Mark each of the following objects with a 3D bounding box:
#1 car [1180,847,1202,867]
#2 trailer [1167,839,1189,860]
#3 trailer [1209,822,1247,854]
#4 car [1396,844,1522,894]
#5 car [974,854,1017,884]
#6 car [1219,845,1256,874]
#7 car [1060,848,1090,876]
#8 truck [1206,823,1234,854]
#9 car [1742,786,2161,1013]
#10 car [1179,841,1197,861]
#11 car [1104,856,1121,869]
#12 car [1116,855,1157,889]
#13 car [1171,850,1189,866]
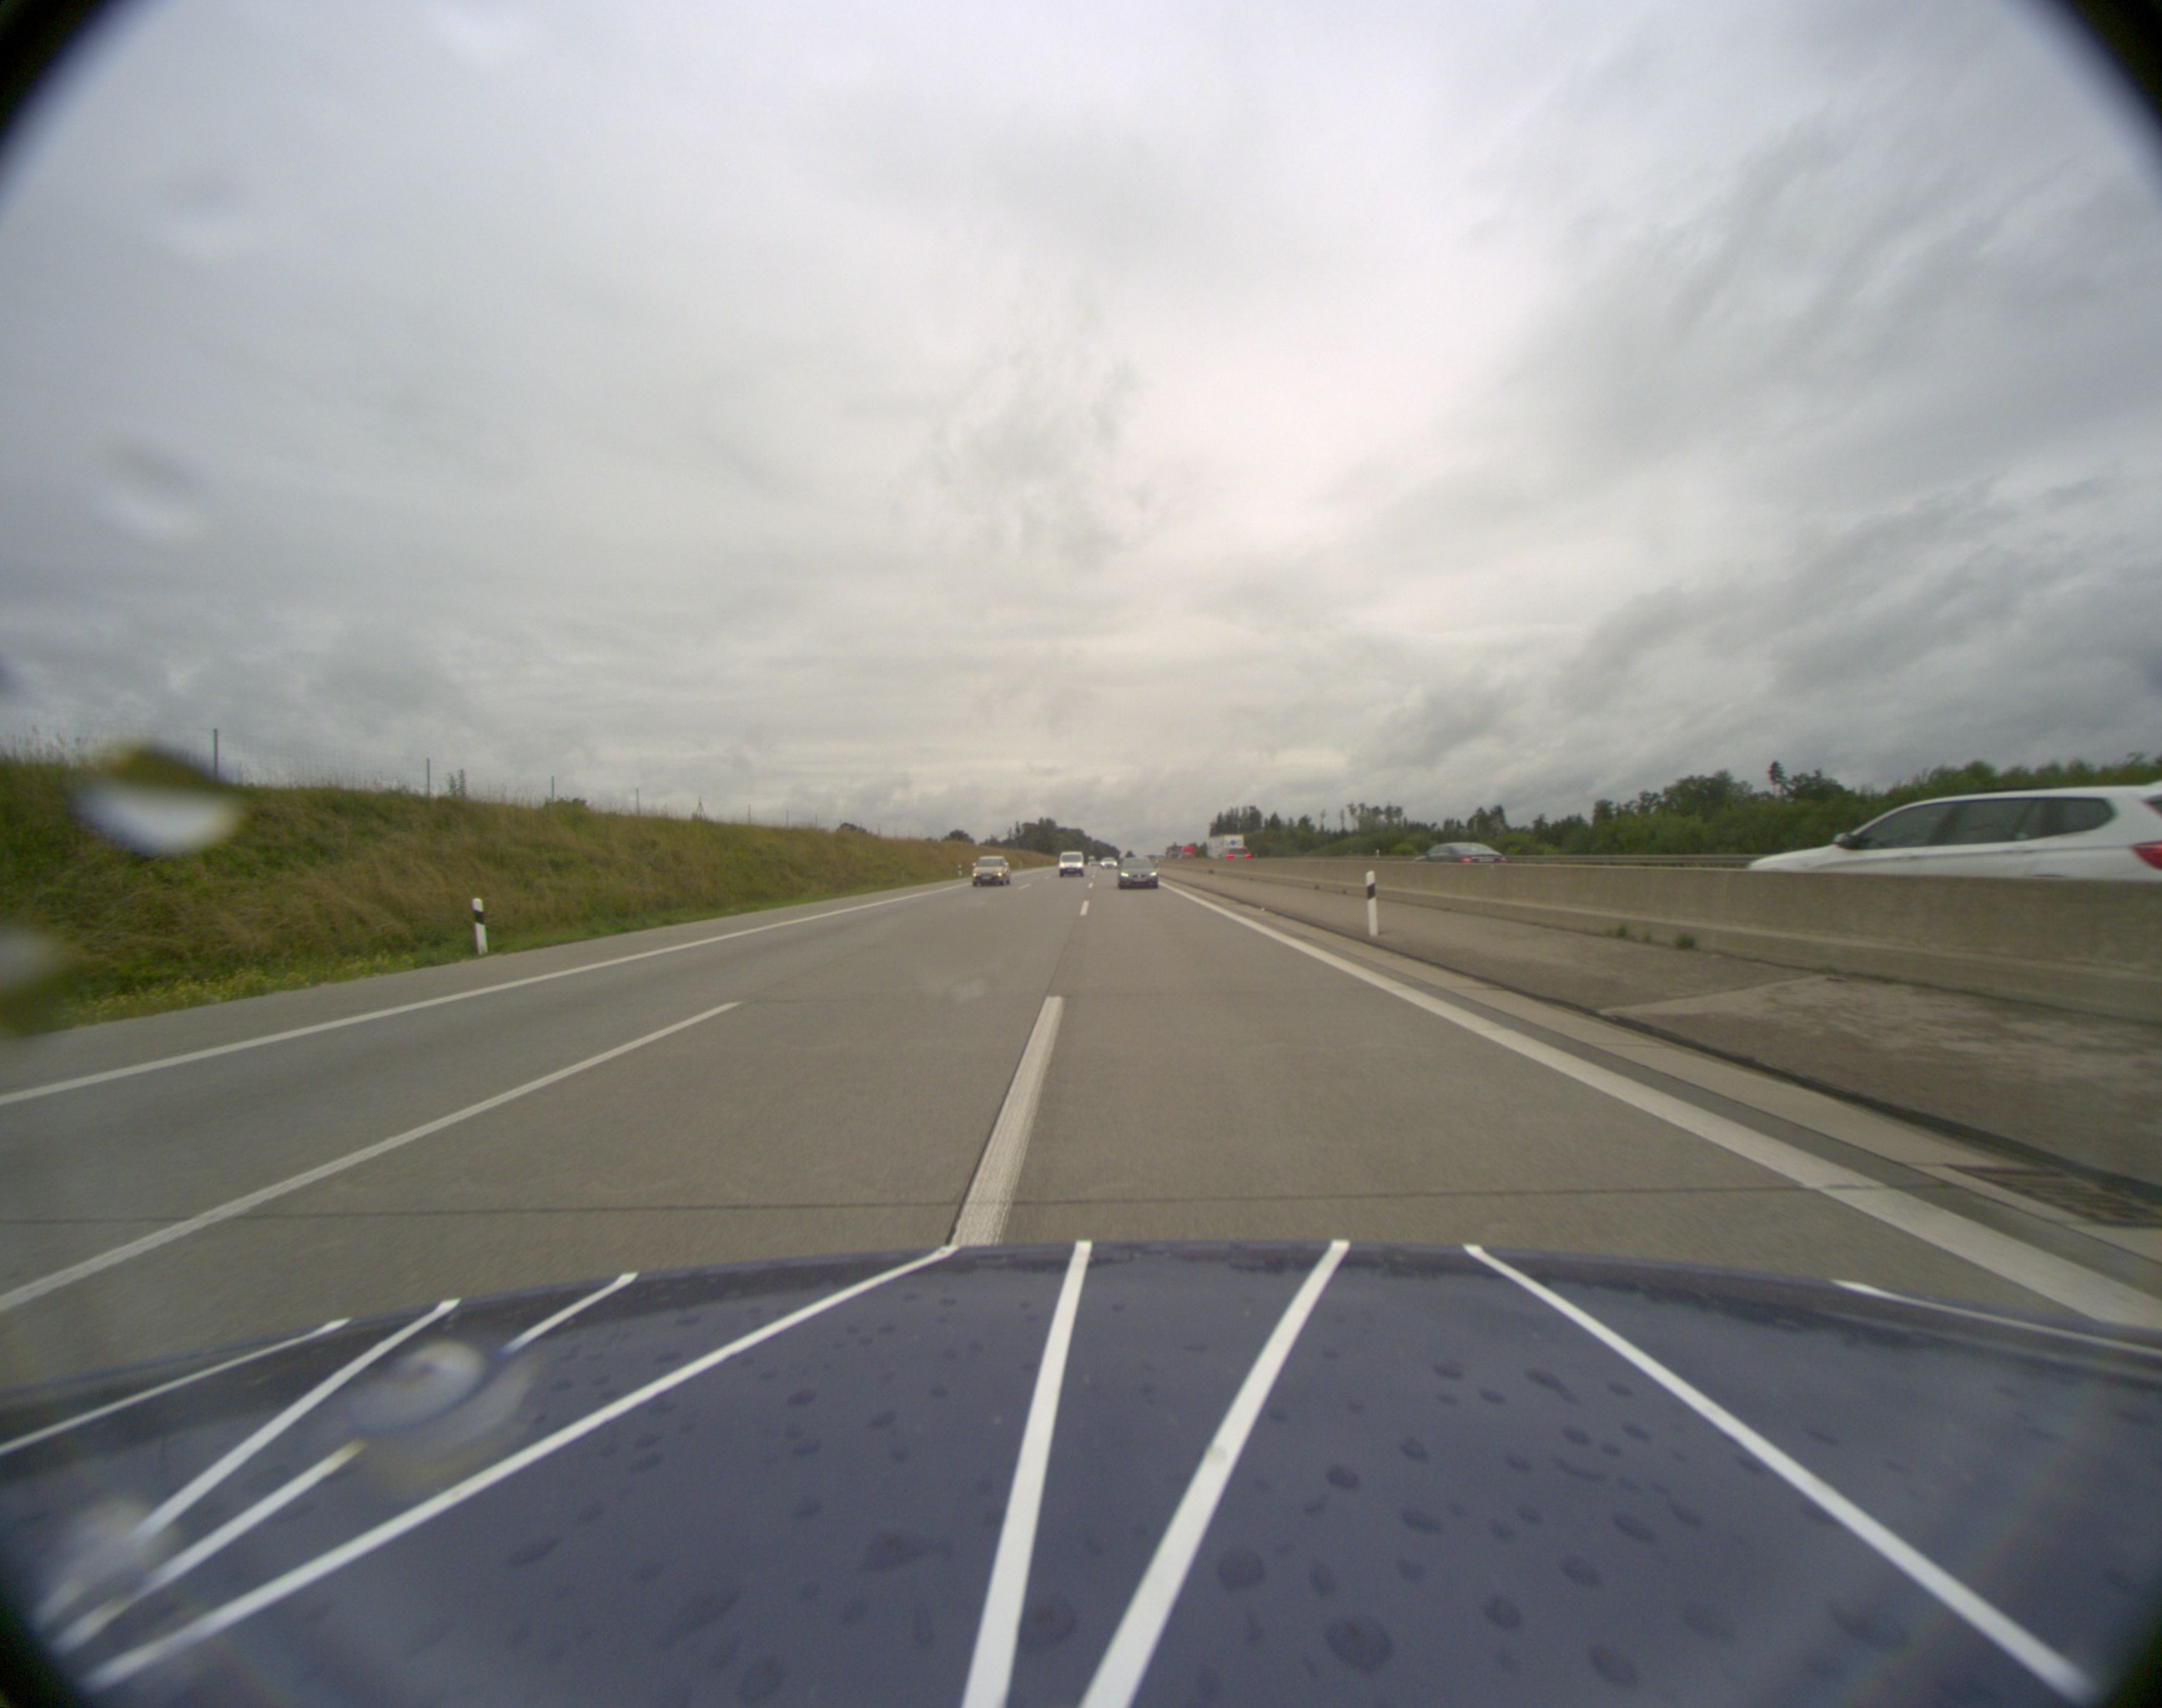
[{"bbox_3d":[11.514,0.260,79.815,1.692,2.002,4.837,-1,0,0],"label":"car"},{"bbox_3d":[22.606,-0.991,178.289,3.607,4.771,12.910,-1,-1,1],"label":"trailer"},{"bbox_3d":[20.343,-2.140,106.048,2.895,3.979,13.016,-1,-1,1],"label":"trailer"},{"bbox_3d":[13.723,0.500,28.000,2.039,1.657,5.268,-1,0,0],"label":"car"},{"bbox_3d":[-4.832,0.837,43.496,1.789,1.595,4.572,-1,-1,2],"label":"car"},{"bbox_3d":[11.406,0.444,55.752,1.692,2.001,4.838,-1,-1,0],"label":"car"},{"bbox_3d":[-0.418,0.630,60.086,2.042,2.111,6.069,-1,-1,2],"label":"car"},{"bbox_3d":[20.451,-2.169,112.345,2.890,4.265,7.137,-1,-1,1],"label":"truck"},{"bbox_3d":[9.889,0.358,7.925,2.039,1.856,4.604,-1,0,1],"label":"car"},{"bbox_3d":[16.167,-0.364,115.066,1.806,2.941,5.579,-1,0,0],"label":"car"},{"bbox_3d":[4.048,1.075,97.547,2.030,1.669,4.321,-1,-1,5],"label":"car"},{"bbox_3d":[2.582,0.817,35.971,1.789,1.471,4.572,-1,-1,3],"label":"car"},{"bbox_3d":[12.789,0.500,98.317,1.806,2.001,4.727,-1,-1,0],"label":"car"}]
